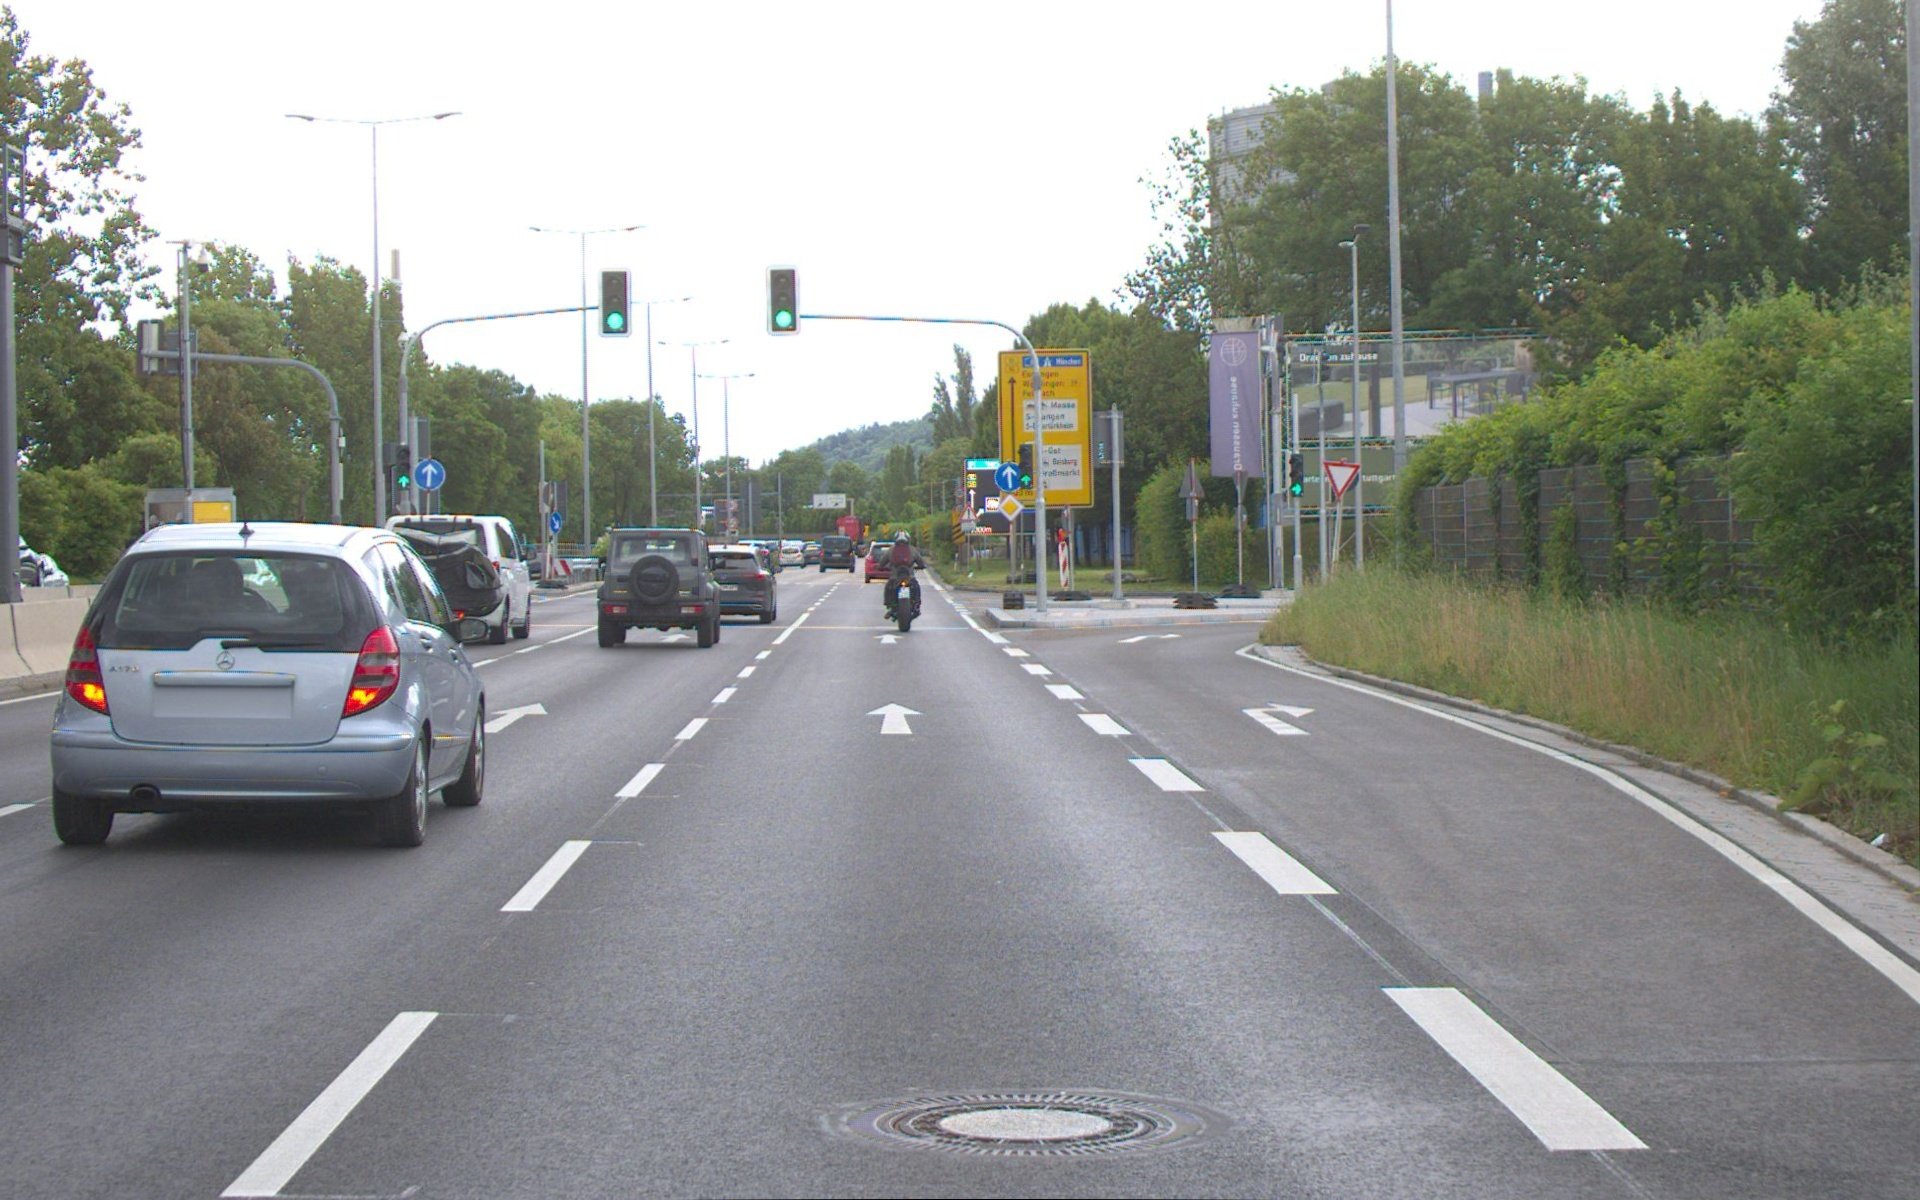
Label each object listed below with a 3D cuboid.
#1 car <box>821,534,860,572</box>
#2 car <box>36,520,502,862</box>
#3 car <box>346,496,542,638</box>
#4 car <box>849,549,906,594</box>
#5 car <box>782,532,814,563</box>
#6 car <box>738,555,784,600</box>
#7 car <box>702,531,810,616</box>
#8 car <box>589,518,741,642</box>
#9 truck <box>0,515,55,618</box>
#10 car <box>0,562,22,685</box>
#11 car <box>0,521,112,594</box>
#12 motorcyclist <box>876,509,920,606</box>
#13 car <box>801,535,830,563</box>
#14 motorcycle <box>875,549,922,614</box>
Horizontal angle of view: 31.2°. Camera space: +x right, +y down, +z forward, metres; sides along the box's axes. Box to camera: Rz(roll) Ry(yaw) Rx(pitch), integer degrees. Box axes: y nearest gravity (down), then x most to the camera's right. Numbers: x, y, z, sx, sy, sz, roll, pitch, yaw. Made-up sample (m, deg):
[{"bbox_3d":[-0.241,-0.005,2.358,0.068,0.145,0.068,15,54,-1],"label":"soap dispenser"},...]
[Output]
[{"bbox_3d":[-6.549,-2.598,188.946,1.993,2.007,4.001,1,1,-1],"label":"car"},{"bbox_3d":[-3.456,0.376,17.880,1.710,1.525,4.001,1,2,-2],"label":"car"},{"bbox_3d":[-7.464,-0.523,50.219,2.214,1.919,5.003,1,2,-2],"label":"car"},{"bbox_3d":[-3.086,-1.075,127.723,1.993,1.546,4.001,1,2,-2],"label":"car"},{"bbox_3d":[-10.958,-3.531,232.292,1.993,2.007,4.000,1,1,-1],"label":"car"},{"bbox_3d":[-9.424,-1.073,163.183,1.993,2.007,4.001,1,1,-1],"label":"car"},{"bbox_3d":[-3.768,-0.517,63.975,1.840,1.459,4.001,1,2,-1],"label":"car"},{"bbox_3d":[-4.249,-0.326,50.003,1.907,1.678,4.001,1,2,-1],"label":"car"},{"bbox_3d":[-20.510,-0.752,71.526,2.204,2.007,6.303,1,2,-5],"label":"truck"},{"bbox_3d":[-16.874,0.411,55.959,1.993,2.007,4.682,1,2,-1],"label":"car"},{"bbox_3d":[-22.465,-1.077,85.047,1.993,1.678,4.412,1,2,-2],"label":"car"},{"bbox_3d":[-1.040,-0.716,57.646,0.685,1.604,0.845,1,1,0],"label":"motorcyclist"},{"bbox_3d":[-10.931,-3.865,260.442,1.993,2.007,4.000,1,1,-1],"label":"car"},{"bbox_3d":[-1.028,-0.316,57.658,0.706,1.036,2.027,1,1,0],"label":"motorcycle"}]
